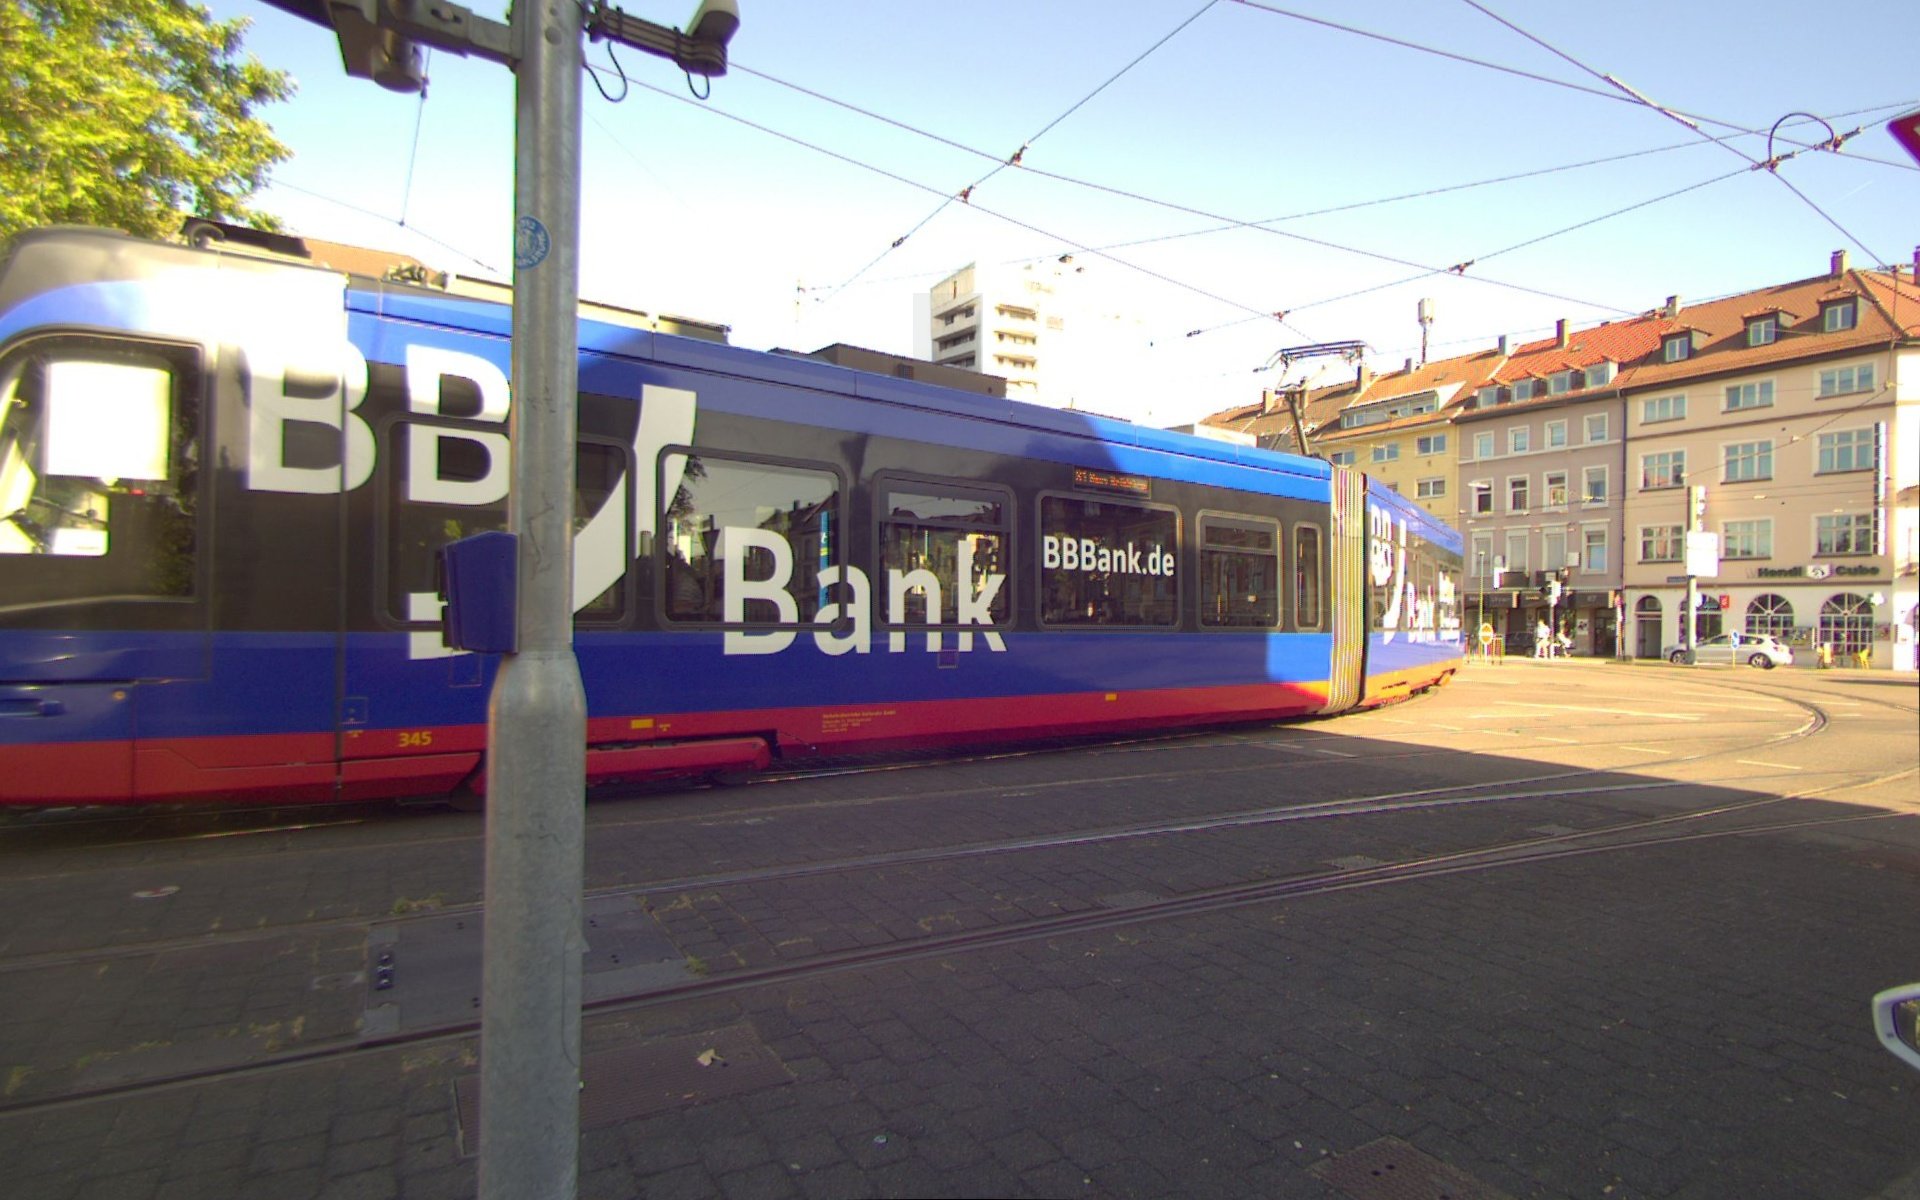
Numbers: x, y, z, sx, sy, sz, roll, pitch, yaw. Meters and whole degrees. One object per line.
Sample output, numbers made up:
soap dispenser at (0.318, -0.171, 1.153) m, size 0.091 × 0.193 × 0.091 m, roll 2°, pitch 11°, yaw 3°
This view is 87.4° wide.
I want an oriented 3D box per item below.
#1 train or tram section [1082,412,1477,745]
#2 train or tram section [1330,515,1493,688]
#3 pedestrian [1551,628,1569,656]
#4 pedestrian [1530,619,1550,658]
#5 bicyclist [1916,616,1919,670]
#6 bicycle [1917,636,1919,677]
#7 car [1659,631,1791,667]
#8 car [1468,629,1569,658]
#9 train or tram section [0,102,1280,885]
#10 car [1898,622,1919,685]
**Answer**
train or tram section at (6.274, -0.100, 17.063) m, size 3.014 × 3.661 × 12.466 m, roll 0°, pitch -1°, yaw 34°
train or tram section at (12.641, 0.166, 27.293) m, size 3.010 × 3.661 × 12.094 m, roll 0°, pitch -1°, yaw 29°
pedestrian at (33.770, 2.352, 56.504) m, size 0.689 × 1.544 × 0.653 m, roll 1°, pitch -1°, yaw -38°
pedestrian at (25.297, 1.679, 43.834) m, size 0.714 × 1.648 × 0.670 m, roll 0°, pitch -1°, yaw 29°
bicyclist at (28.618, 1.260, 29.456) m, size 0.978 × 1.580 × 0.709 m, roll 1°, pitch -1°, yaw -38°
bicycle at (28.649, 1.667, 29.525) m, size 2.039 × 1.181 × 0.481 m, roll 2°, pitch -1°, yaw -39°
car at (32.091, 2.019, 42.191) m, size 1.986 × 1.373 × 4.168 m, roll 2°, pitch -1°, yaw -43°
car at (30.574, 2.357, 55.095) m, size 1.725 × 1.459 × 4.614 m, roll 2°, pitch -1°, yaw -32°
train or tram section at (-2.089, -0.395, 8.557) m, size 12.008 × 3.661 × 3.031 m, roll 2°, pitch -1°, yaw -39°
car at (25.496, 1.340, 24.822) m, size 4.289 × 1.517 × 1.987 m, roll 1°, pitch -1°, yaw -26°
